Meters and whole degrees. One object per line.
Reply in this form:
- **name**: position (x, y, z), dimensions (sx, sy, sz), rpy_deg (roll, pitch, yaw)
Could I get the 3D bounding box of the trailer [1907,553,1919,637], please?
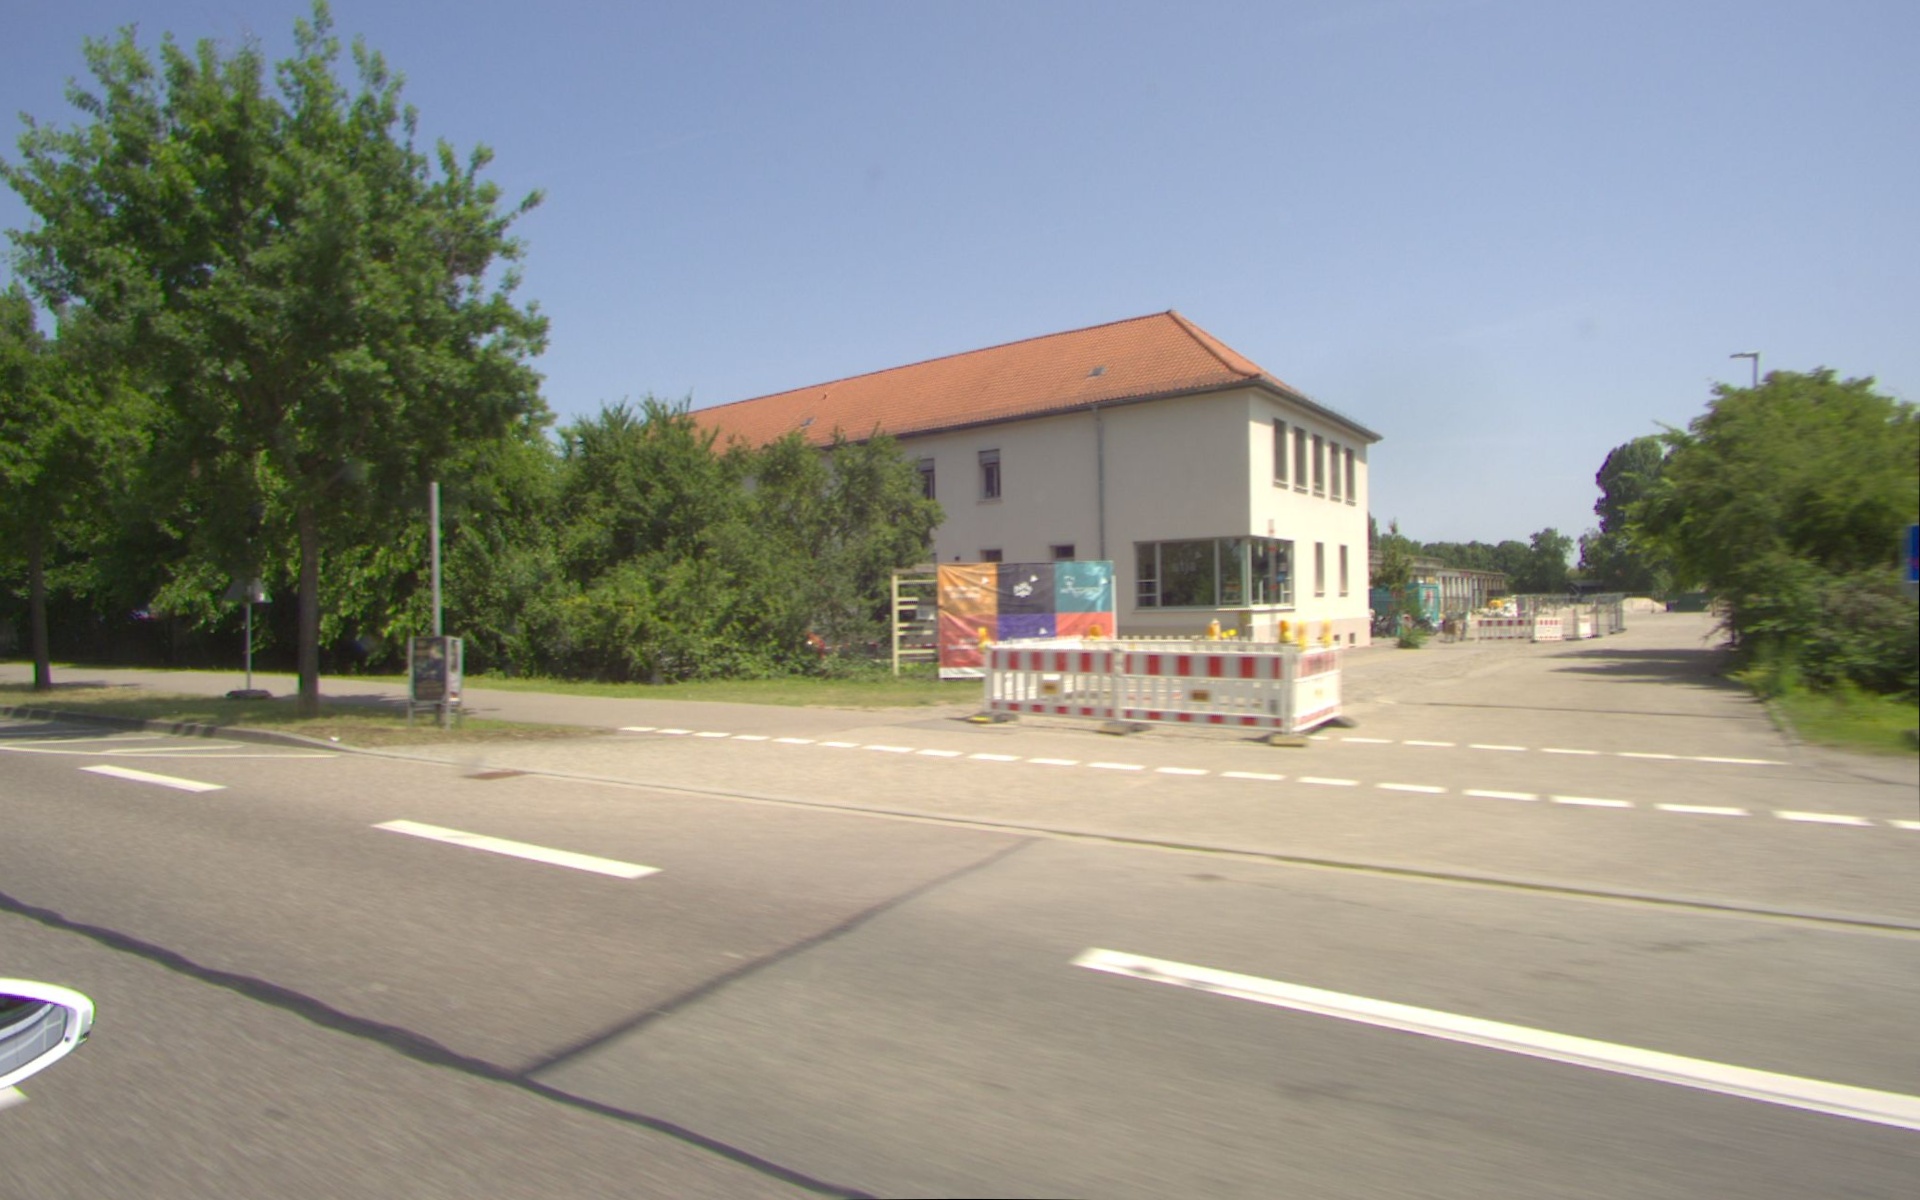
- **trailer**: position (40.953, -0.233, 40.137), dimensions (3.947, 3.375, 2.702), rpy_deg (-1, 0, 35)
